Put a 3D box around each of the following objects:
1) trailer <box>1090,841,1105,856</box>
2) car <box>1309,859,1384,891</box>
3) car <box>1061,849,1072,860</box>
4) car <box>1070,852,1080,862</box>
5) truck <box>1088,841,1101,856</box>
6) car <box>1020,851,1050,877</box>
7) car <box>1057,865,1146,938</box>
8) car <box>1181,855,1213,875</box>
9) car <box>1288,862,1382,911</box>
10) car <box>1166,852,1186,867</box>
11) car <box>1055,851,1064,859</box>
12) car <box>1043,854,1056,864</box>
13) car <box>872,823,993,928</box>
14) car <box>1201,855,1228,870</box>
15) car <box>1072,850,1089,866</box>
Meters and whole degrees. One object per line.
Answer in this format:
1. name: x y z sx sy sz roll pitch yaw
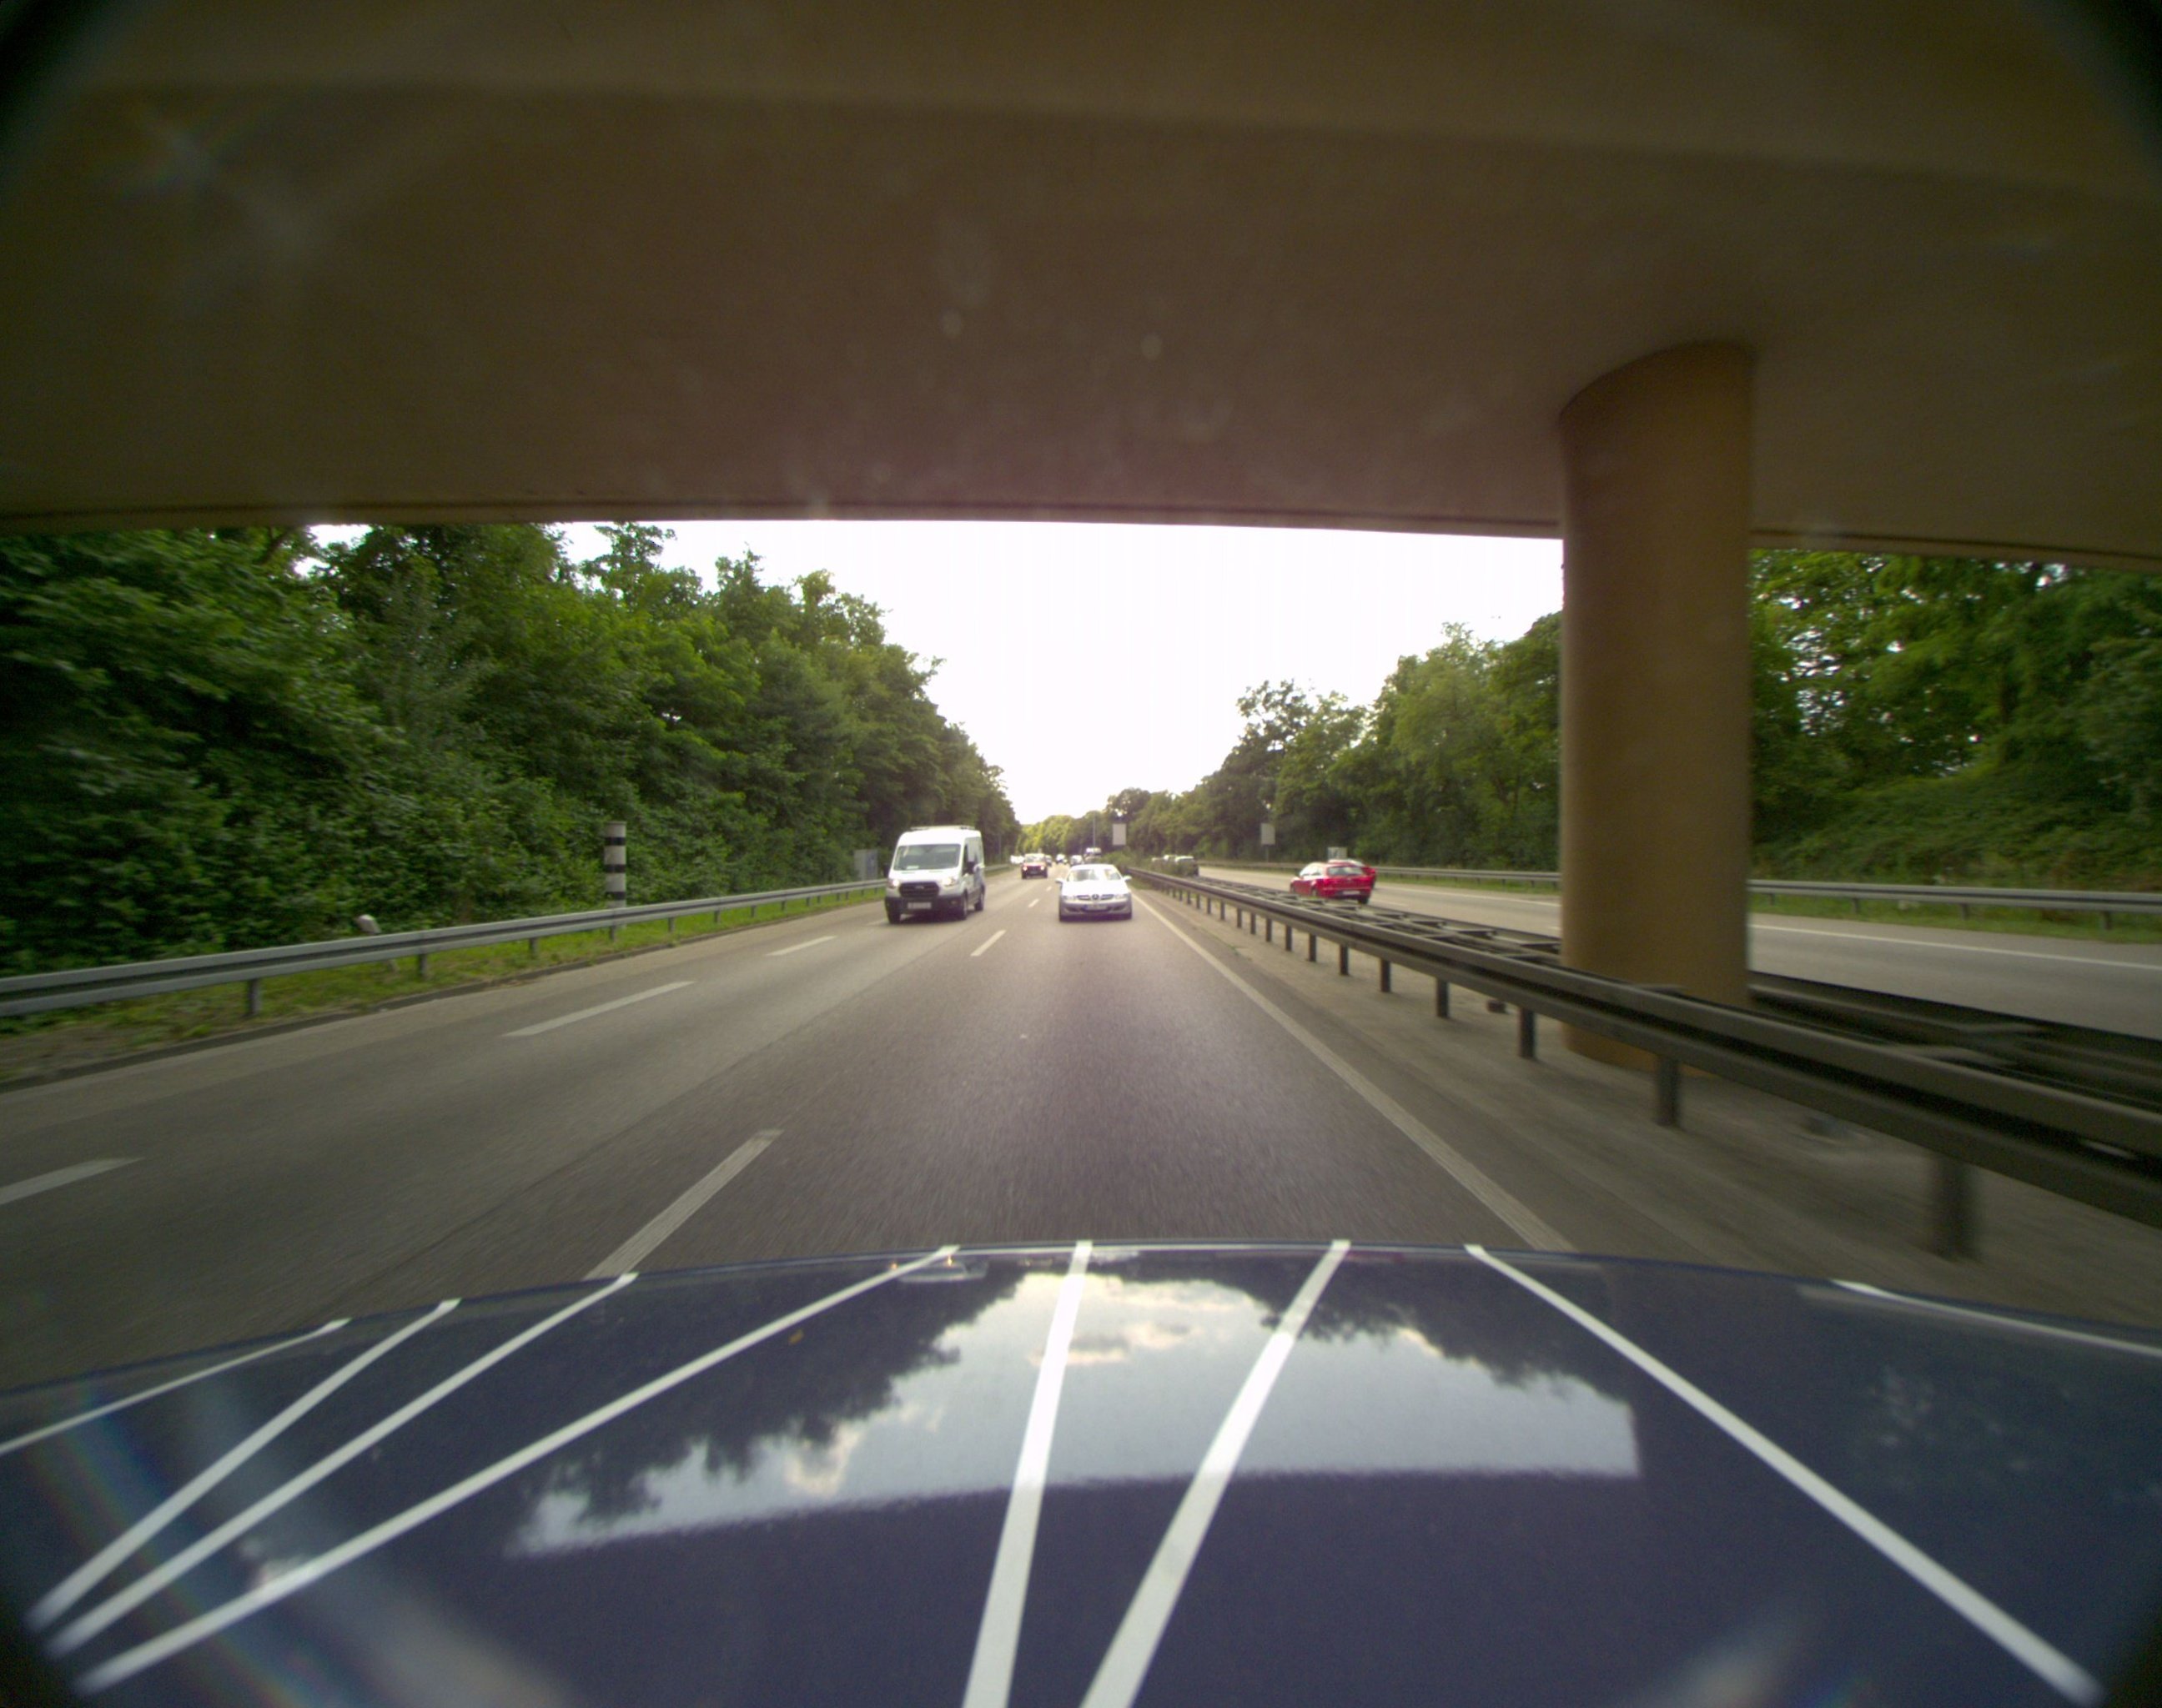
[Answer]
1. trailer: 4.238 -1.433 197.808 2.946 3.811 10.306 0 0 -3
2. car: 12.432 0.940 35.945 1.869 1.370 4.805 -1 0 0
3. car: -2.689 0.039 140.687 1.999 2.002 3.999 -1 0 -2
4. car: -0.957 0.537 125.262 1.473 1.560 3.294 -1 0 -2
5. truck: 3.714 -1.503 208.067 2.963 3.833 10.320 0 0 -3
6. car: -3.476 0.723 58.058 1.908 1.795 4.395 -2 0 1
7. car: 0.456 1.007 17.980 1.751 1.295 5.223 -2 0 1
8. car: 9.447 0.854 62.087 1.870 1.579 4.565 -1 0 0
9. car: 8.512 1.031 25.871 1.689 1.468 4.436 -1 0 0
10. car: 11.805 0.666 94.715 1.790 1.728 4.880 -1 0 -1
11. car: -4.367 0.129 155.211 1.699 1.579 4.000 -1 0 0
12. car: -5.029 0.850 120.612 1.890 1.516 3.998 -1 0 -3
13. car: -3.958 0.510 21.256 2.104 2.493 5.279 -2 0 2
14. car: 13.346 0.844 76.453 1.869 1.447 4.805 -1 0 0
15. car: -0.013 0.485 97.061 1.998 2.002 4.000 -1 0 2
